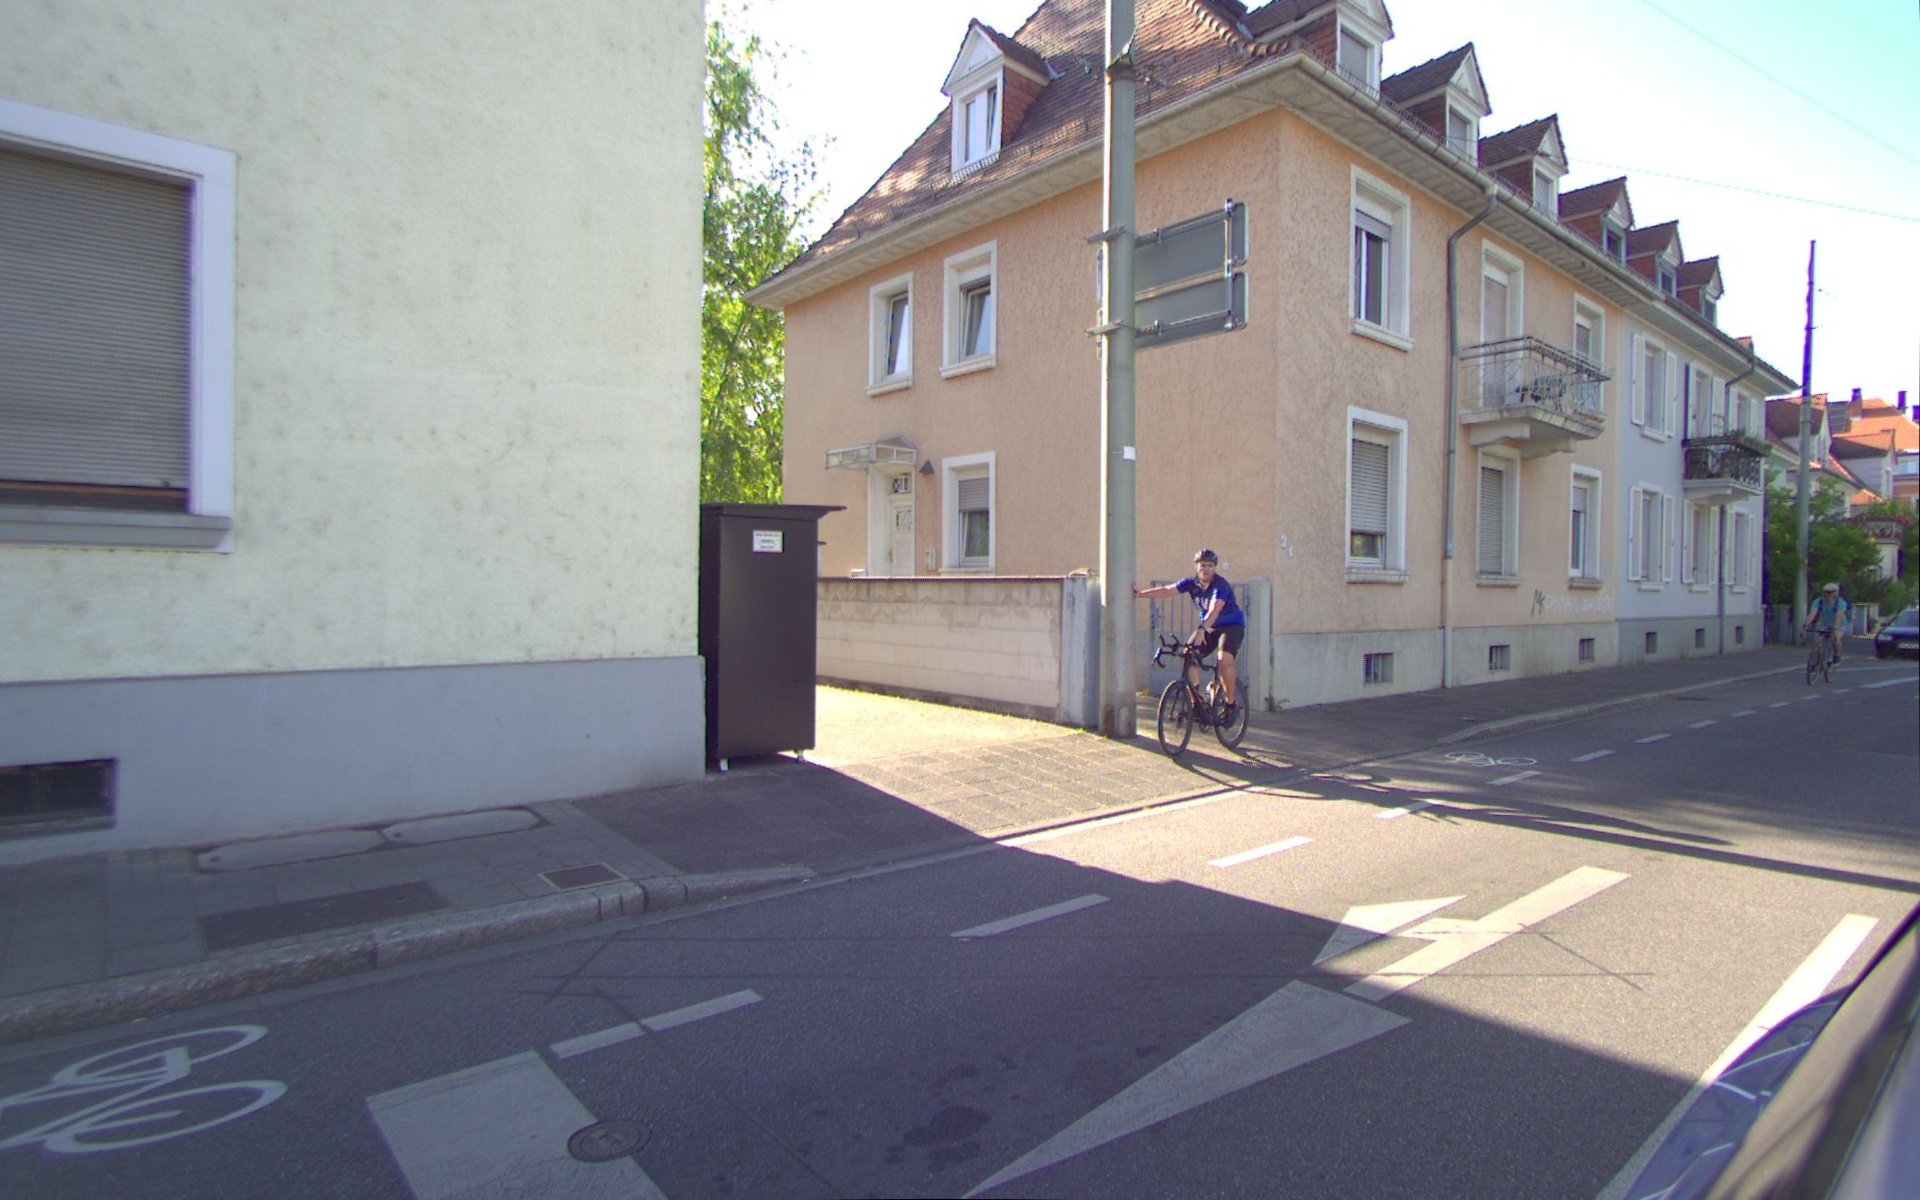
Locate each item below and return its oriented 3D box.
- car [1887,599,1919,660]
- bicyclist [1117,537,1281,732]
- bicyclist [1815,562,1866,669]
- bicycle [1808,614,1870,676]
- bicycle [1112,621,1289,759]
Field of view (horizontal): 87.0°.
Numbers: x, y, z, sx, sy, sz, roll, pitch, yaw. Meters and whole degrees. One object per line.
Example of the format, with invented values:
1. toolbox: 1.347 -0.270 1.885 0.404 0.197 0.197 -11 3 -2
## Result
1. car: 26.696 0.756 27.372 3.742 1.601 1.696 0 -1 -36
2. bicyclist: 2.213 0.279 9.426 0.870 1.627 1.052 1 5 -41
3. bicyclist: 16.488 0.295 18.951 0.928 1.959 0.519 4 -2 -37
4. bicycle: 16.470 0.844 18.944 1.762 1.105 0.519 3 -1 -37
5. bicycle: 2.233 0.773 9.283 1.744 1.081 0.592 0 5 -41
